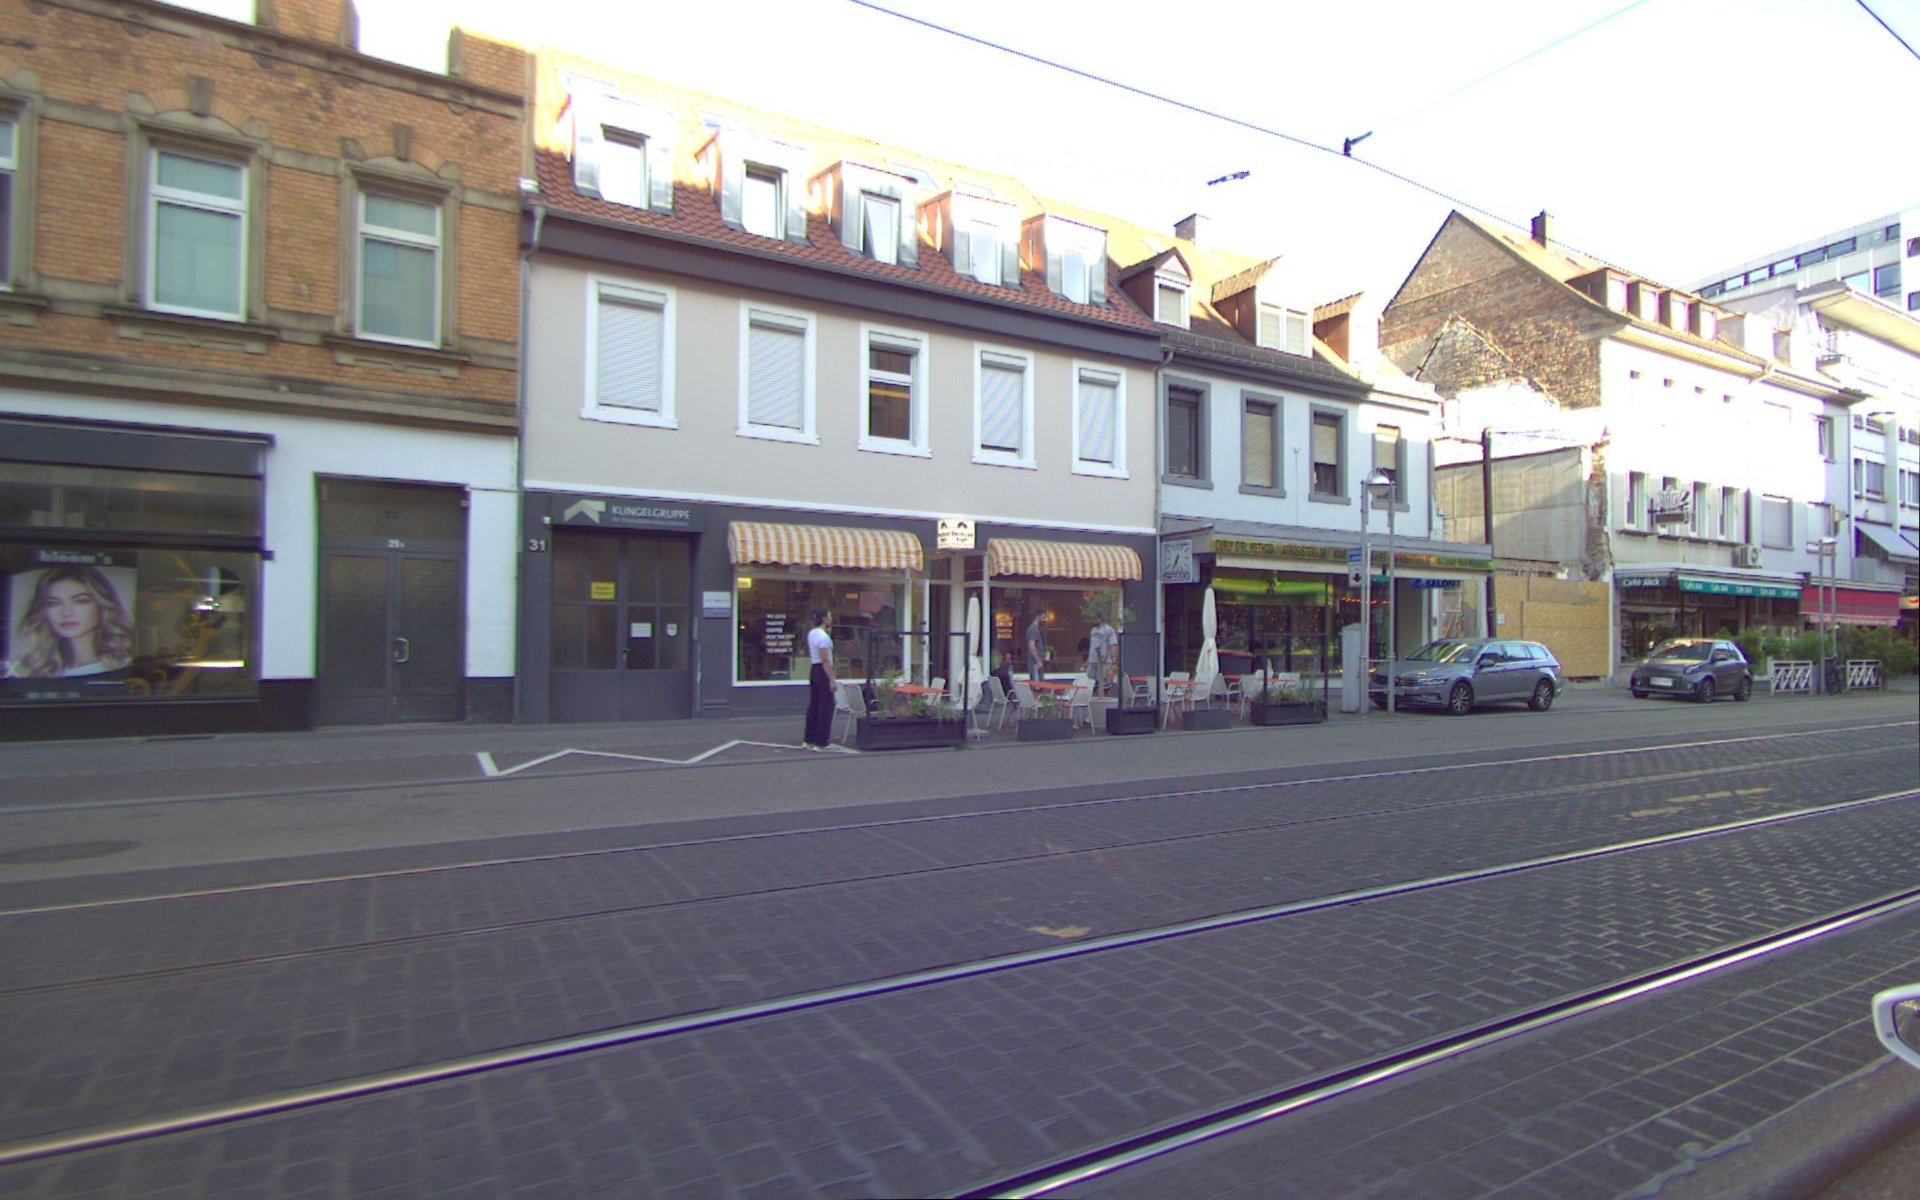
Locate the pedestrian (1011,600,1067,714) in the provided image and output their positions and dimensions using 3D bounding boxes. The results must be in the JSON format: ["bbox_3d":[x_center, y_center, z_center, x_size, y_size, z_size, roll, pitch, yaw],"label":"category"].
[{"bbox_3d":[1.313,0.936,16.697,0.636,1.847,0.652,2,-1,-35],"label":"pedestrian"}]

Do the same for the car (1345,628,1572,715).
[{"bbox_3d":[10.396,1.469,20.847,4.703,1.552,1.983,3,-1,-31],"label":"car"}]

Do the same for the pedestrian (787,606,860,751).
[{"bbox_3d":[-1.755,0.991,12.960,0.704,1.799,0.615,1,-1,17],"label":"pedestrian"}]

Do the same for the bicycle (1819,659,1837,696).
[{"bbox_3d":[24.851,2.204,28.753,0.364,1.015,1.597,0,-2,41],"label":"bicycle"}]

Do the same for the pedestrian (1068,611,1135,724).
[{"bbox_3d":[2.344,1.094,16.657,0.680,1.799,0.881,2,-1,-31],"label":"pedestrian"}]

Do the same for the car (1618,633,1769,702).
[{"bbox_3d":[18.673,1.683,25.551,3.697,1.566,1.668,2,0,-28],"label":"car"}]
